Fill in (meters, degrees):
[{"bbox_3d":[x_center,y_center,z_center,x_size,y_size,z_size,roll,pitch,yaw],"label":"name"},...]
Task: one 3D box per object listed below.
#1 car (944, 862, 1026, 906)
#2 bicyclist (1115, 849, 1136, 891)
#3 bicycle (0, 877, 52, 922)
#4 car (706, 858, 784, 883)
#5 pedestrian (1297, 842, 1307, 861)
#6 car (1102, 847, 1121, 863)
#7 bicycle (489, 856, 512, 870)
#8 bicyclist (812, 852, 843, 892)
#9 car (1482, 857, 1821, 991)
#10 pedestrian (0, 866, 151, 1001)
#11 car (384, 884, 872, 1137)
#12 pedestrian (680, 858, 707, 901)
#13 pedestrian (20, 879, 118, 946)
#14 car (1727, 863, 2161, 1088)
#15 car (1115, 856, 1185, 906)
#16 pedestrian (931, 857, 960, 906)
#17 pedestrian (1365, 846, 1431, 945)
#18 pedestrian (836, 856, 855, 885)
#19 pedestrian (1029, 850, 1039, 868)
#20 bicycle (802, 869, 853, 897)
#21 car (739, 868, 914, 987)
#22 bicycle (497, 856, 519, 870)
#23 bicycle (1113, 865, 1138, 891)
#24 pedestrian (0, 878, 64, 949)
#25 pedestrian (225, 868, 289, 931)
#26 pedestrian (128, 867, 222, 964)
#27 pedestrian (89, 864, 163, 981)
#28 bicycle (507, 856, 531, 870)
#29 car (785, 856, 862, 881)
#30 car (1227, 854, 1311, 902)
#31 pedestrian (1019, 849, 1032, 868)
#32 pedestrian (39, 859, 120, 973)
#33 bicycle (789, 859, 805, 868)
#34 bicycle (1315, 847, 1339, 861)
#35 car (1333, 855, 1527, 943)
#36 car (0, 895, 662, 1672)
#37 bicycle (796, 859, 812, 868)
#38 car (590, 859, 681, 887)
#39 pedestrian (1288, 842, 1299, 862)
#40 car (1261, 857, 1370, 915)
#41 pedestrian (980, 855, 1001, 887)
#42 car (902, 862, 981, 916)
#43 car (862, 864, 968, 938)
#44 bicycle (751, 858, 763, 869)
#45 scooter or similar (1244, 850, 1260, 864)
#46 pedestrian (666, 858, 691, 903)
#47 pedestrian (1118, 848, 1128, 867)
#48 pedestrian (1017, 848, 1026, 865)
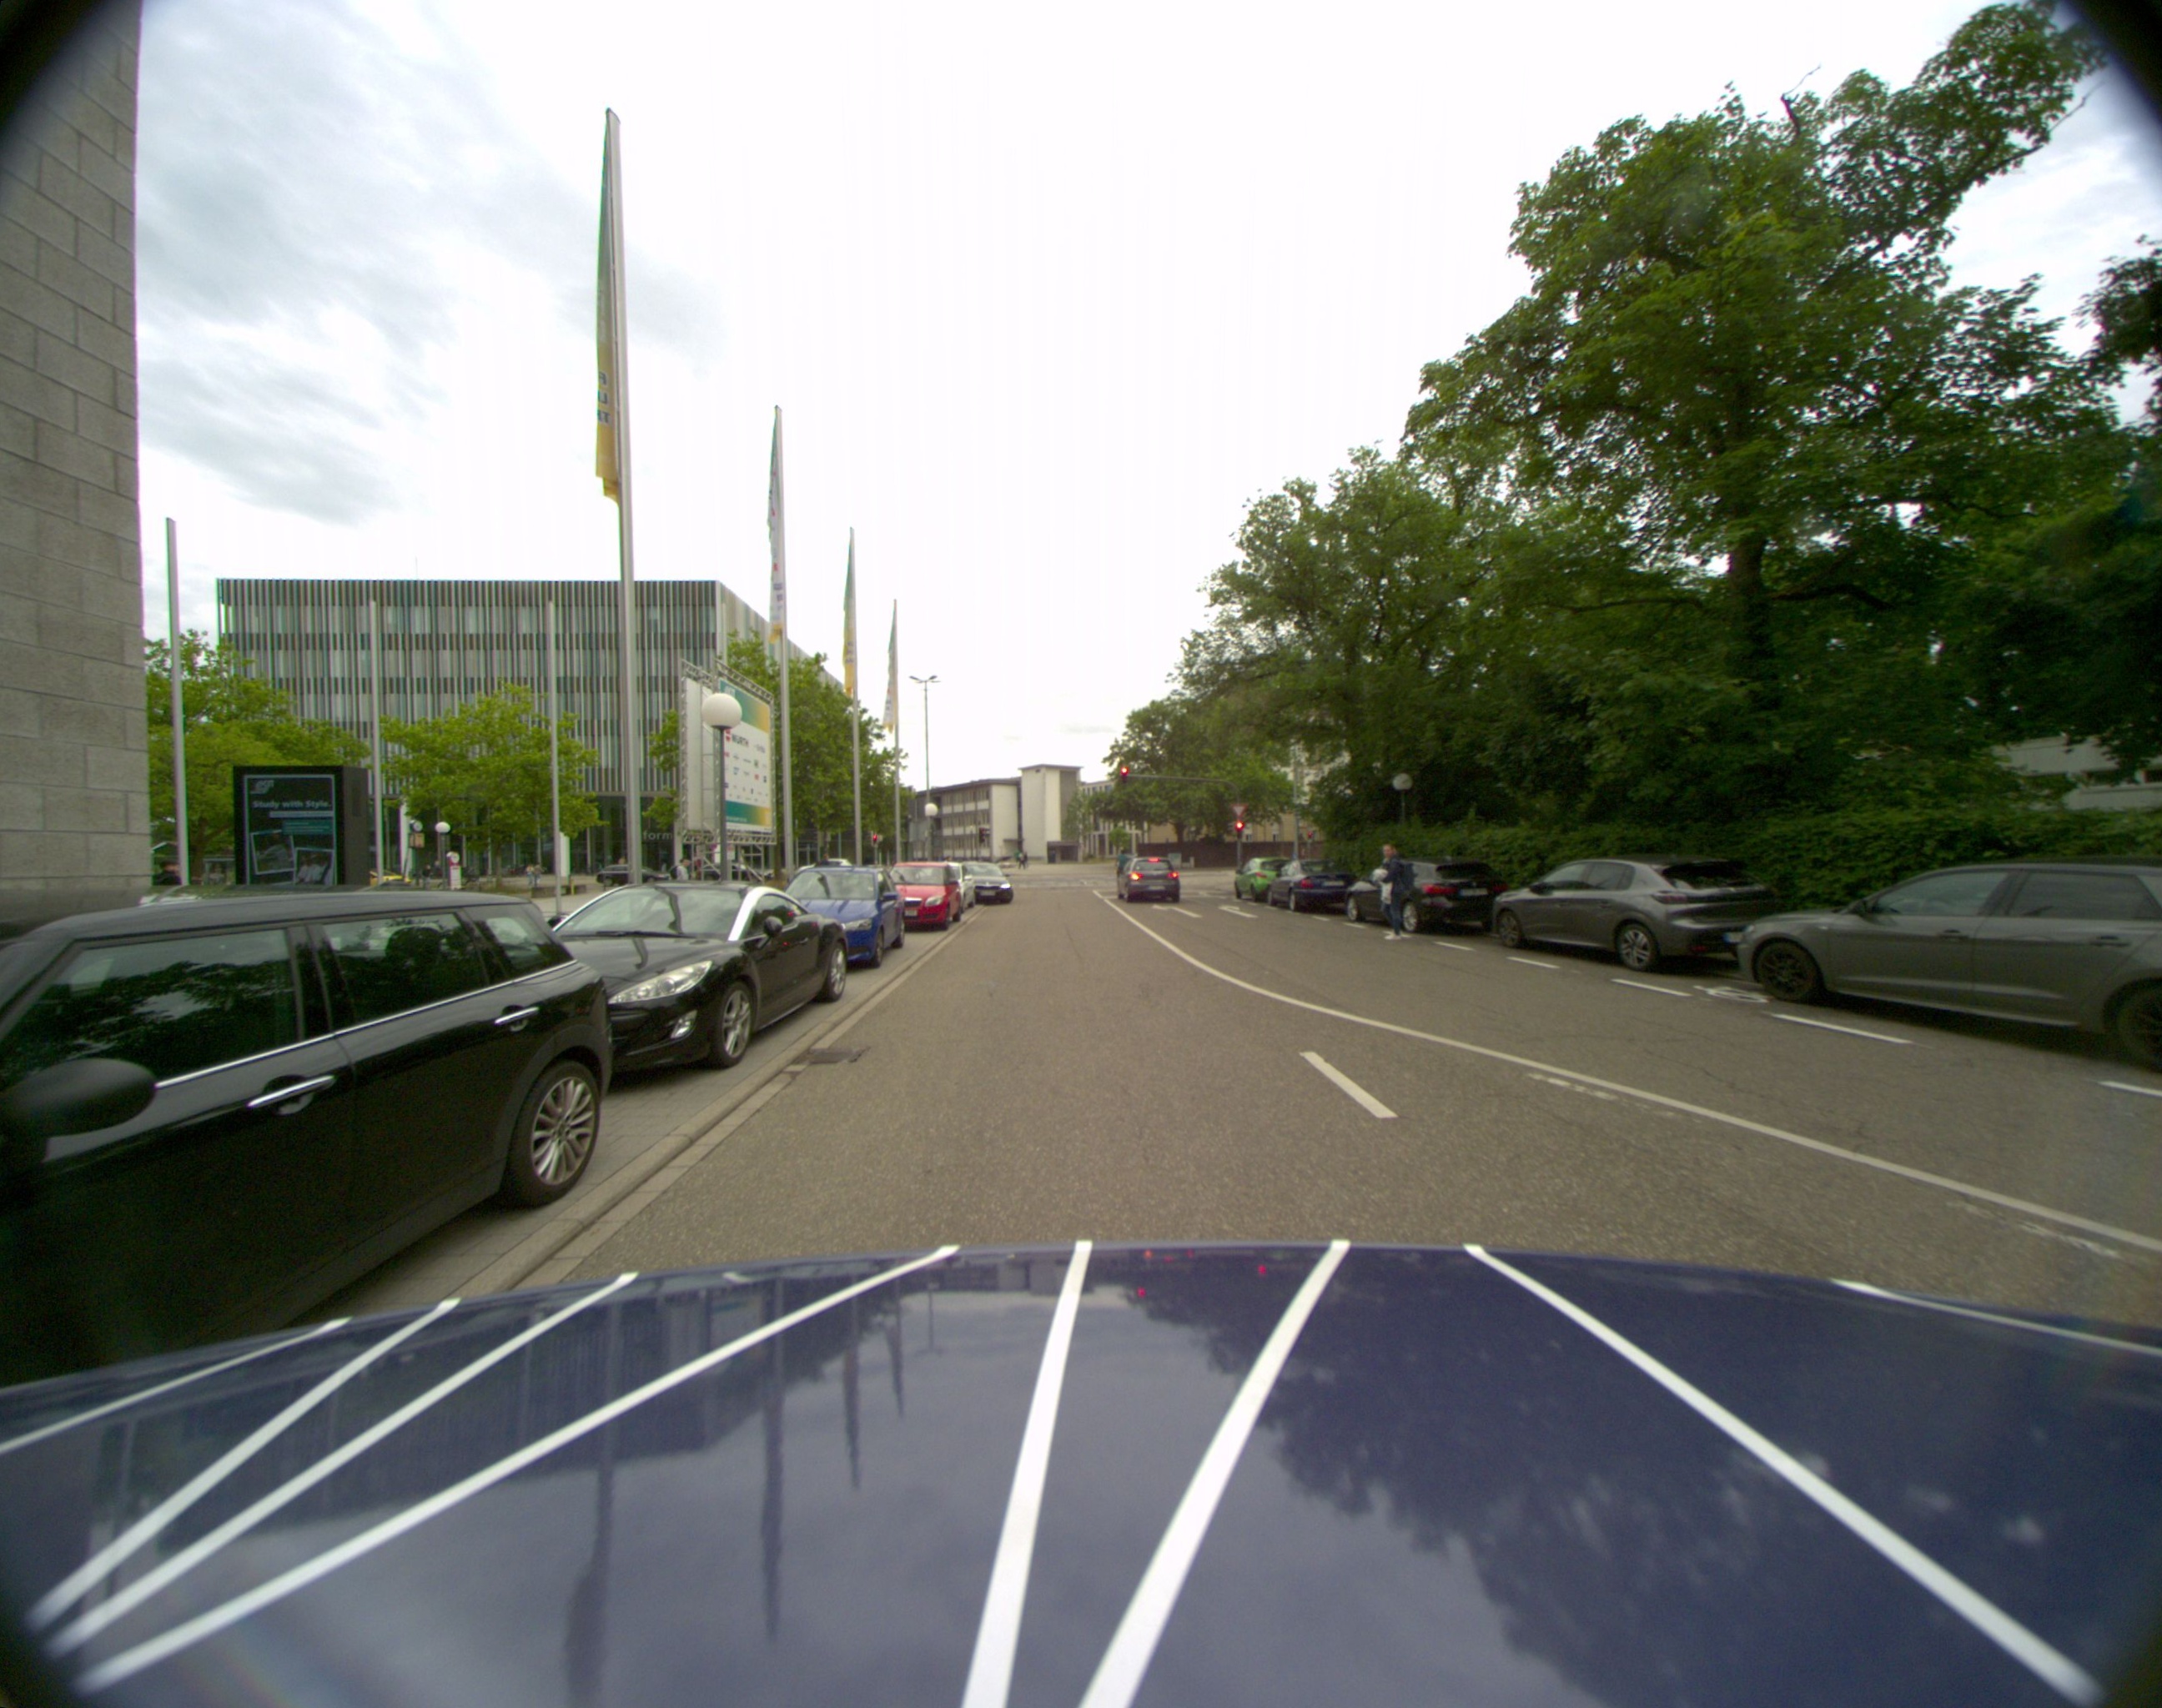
[{"bbox_3d":[-3.639,1.039,28.099,1.868,1.393,4.470,-2,1,-22],"label":"car"},{"bbox_3d":[1.880,0.678,32.385,0.659,1.769,0.983,-1,1,-10],"label":"bicyclist"},{"bbox_3d":[-27.886,1.154,18.771,0.747,1.163,3.108,-2,-2,-1],"label":"bicycle"},{"bbox_3d":[-22.588,1.103,51.177,4.290,1.481,1.999,-1,1,-3],"label":"car"},{"bbox_3d":[19.665,-0.200,67.593,0.642,1.684,0.778,-1,2,-10],"label":"pedestrian"},{"bbox_3d":[4.311,0.193,106.329,1.998,1.570,4.411,-9,-7,9],"label":"car"},{"bbox_3d":[-54.945,0.892,71.922,0.628,1.251,2.104,-2,-2,-4],"label":"bicycle"},{"bbox_3d":[-10.627,0.732,31.850,0.870,1.631,0.874,-2,0,-44],"label":"bicyclist"},{"bbox_3d":[7.577,0.811,10.651,1.766,1.463,3.823,-1,1,-3],"label":"car"},{"bbox_3d":[-13.034,1.001,9.876,0.737,1.631,0.931,-2,-2,-6],"label":"pedestrian"},{"bbox_3d":[-3.401,1.045,6.904,1.853,1.433,4.419,-1,-1,-2],"label":"car"},{"bbox_3d":[-15.540,1.006,30.446,0.673,1.705,0.678,-1,1,4],"label":"pedestrian"},{"bbox_3d":[-22.613,1.285,17.006,0.852,1.412,0.967,-1,1,-14],"label":"pedestrian"},{"bbox_3d":[7.806,0.805,6.029,1.768,1.403,4.007,-1,0,-4],"label":"car"},{"bbox_3d":[2.254,0.840,25.871,1.788,1.488,4.166,-1,1,-3],"label":"car"},{"bbox_3d":[-5.019,1.000,28.173,0.792,1.777,0.822,-1,1,9],"label":"pedestrian"},{"bbox_3d":[5.464,0.704,13.153,0.740,1.652,0.968,0,0,1],"label":"pedestrian"},{"bbox_3d":[-13.294,0.925,42.920,0.757,1.617,0.794,-1,1,6],"label":"pedestrian"},{"bbox_3d":[-4.339,0.470,70.686,0.619,1.656,0.623,-2,1,-41],"label":"pedestrian"},{"bbox_3d":[-10.624,1.215,31.850,1.805,1.087,0.874,-1,0,-44],"label":"bicycle"},{"bbox_3d":[-3.780,0.990,12.069,1.700,1.403,4.373,0,1,-6],"label":"car"},{"bbox_3d":[-54.284,0.868,72.010,0.628,1.251,2.104,-2,-2,-4],"label":"bicycle"},{"bbox_3d":[1.887,1.020,32.397,0.659,1.031,1.855,-1,1,-10],"label":"bicycle"},{"bbox_3d":[-22.264,1.237,16.044,0.674,1.405,0.767,-2,1,-34],"label":"pedestrian"},{"bbox_3d":[-22.866,1.243,21.117,0.853,1.694,0.967,0,0,-22],"label":"pedestrian"},{"bbox_3d":[-16.121,1.070,13.541,0.757,1.660,0.705,-1,1,-1],"label":"pedestrian"},{"bbox_3d":[-14.678,1.018,11.680,0.779,1.703,0.649,2,2,35],"label":"pedestrian"},{"bbox_3d":[-53.334,0.835,72.146,0.628,1.251,2.105,-2,-2,2],"label":"bicycle"},{"bbox_3d":[-20.230,1.162,59.897,5.373,1.687,2.047,-2,-2,-8],"label":"car"},{"bbox_3d":[6.450,0.774,26.550,1.802,1.461,4.247,-1,1,-1],"label":"car"},{"bbox_3d":[-5.262,0.382,71.749,0.892,1.778,0.848,0,1,45],"label":"pedestrian"},{"bbox_3d":[-15.707,0.951,11.915,0.907,1.702,0.696,-2,-2,34],"label":"pedestrian"},{"bbox_3d":[-28.786,0.965,77.057,2.004,0.931,0.485,0,2,37],"label":"bicycle"},{"bbox_3d":[22.931,-0.005,70.802,2.156,1.178,0.582,-1,2,-11],"label":"bicycle"},{"bbox_3d":[7.016,0.813,15.884,1.803,1.551,4.529,-1,0,-3],"label":"car"},{"bbox_3d":[-3.158,0.956,2.019,1.823,1.435,4.518,0,0,-4],"label":"car"},{"bbox_3d":[-28.286,0.964,77.606,2.004,0.931,0.550,0,2,37],"label":"bicycle"},{"bbox_3d":[-29.998,1.261,51.300,4.838,1.653,1.999,-2,0,-5],"label":"car"},{"bbox_3d":[18.872,-0.187,67.496,0.670,1.729,0.735,-1,2,-5],"label":"pedestrian"},{"bbox_3d":[6.467,0.831,21.470,1.802,1.400,4.336,-1,1,1],"label":"car"},{"bbox_3d":[-4.565,0.845,38.247,1.044,1.610,0.657,-1,1,-8],"label":"pedestrian"},{"bbox_3d":[-4.207,1.002,23.498,1.865,1.444,3.857,-1,0,-3],"label":"car"},{"bbox_3d":[-3.754,1.016,17.901,1.717,1.464,4.272,1,0,-3],"label":"car"},{"bbox_3d":[-31.911,0.972,74.761,0.485,1.039,1.911,-2,2,-42],"label":"bicycle"},{"bbox_3d":[15.759,0.263,70.176,1.410,1.223,0.495,0,3,16],"label":"scooter or similar"},{"bbox_3d":[-15.625,1.031,29.518,0.585,1.705,0.657,-1,1,-1],"label":"pedestrian"},{"bbox_3d":[3.833,0.318,69.067,0.809,1.654,0.791,-1,-1,-4],"label":"pedestrian"},{"bbox_3d":[-6.303,0.274,80.444,0.951,1.705,0.905,-1,1,-3],"label":"pedestrian"}]
